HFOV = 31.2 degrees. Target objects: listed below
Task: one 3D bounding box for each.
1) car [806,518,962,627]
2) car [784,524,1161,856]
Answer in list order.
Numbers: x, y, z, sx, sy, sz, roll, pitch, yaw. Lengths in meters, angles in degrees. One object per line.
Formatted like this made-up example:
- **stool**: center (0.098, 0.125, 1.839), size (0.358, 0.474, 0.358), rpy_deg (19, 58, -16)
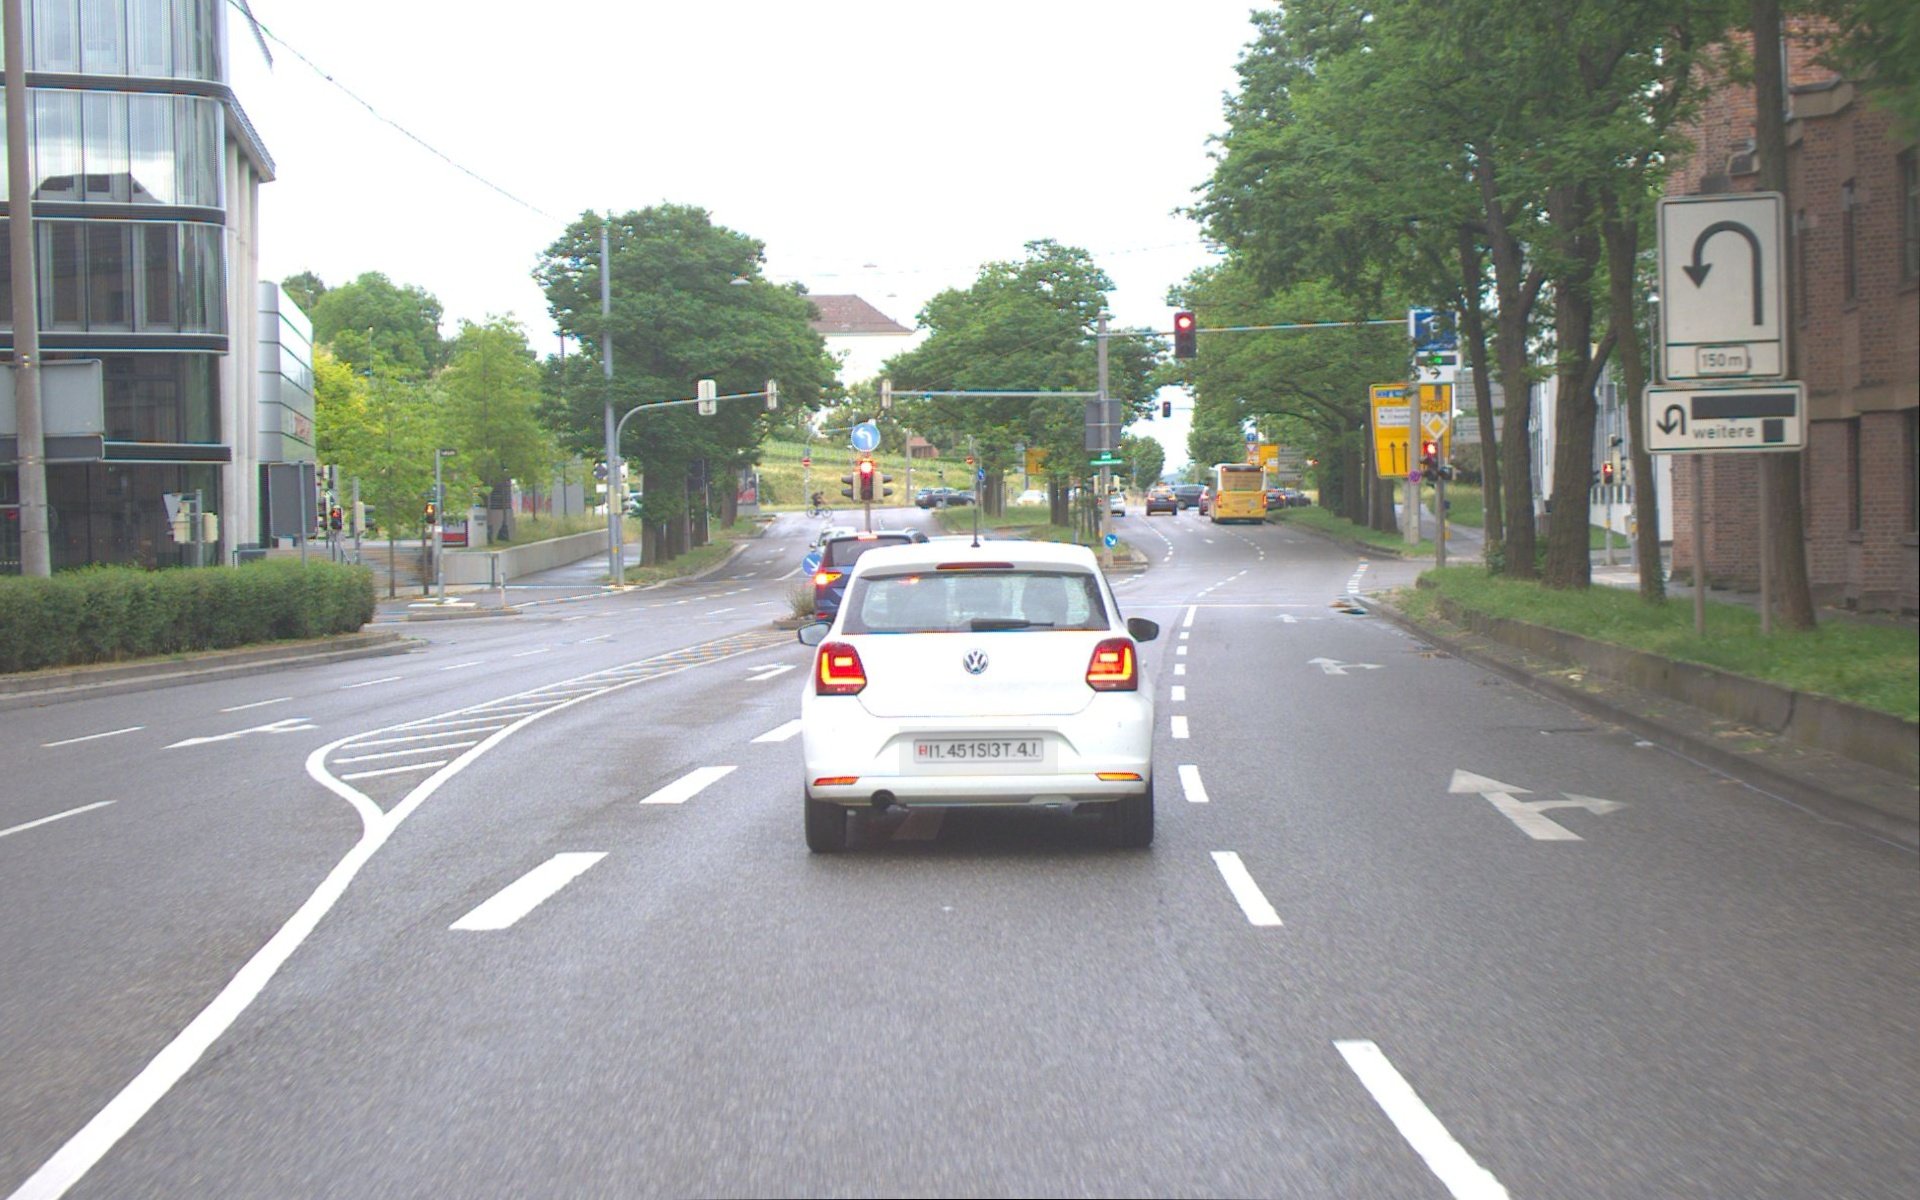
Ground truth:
- **car**: center (-1.117, -0.443, 52.247), size (1.994, 1.568, 4.000), rpy_deg (-1, 1, 4)
- **car**: center (0.096, 0.366, 17.310), size (1.671, 1.469, 3.779), rpy_deg (-1, 1, 1)
